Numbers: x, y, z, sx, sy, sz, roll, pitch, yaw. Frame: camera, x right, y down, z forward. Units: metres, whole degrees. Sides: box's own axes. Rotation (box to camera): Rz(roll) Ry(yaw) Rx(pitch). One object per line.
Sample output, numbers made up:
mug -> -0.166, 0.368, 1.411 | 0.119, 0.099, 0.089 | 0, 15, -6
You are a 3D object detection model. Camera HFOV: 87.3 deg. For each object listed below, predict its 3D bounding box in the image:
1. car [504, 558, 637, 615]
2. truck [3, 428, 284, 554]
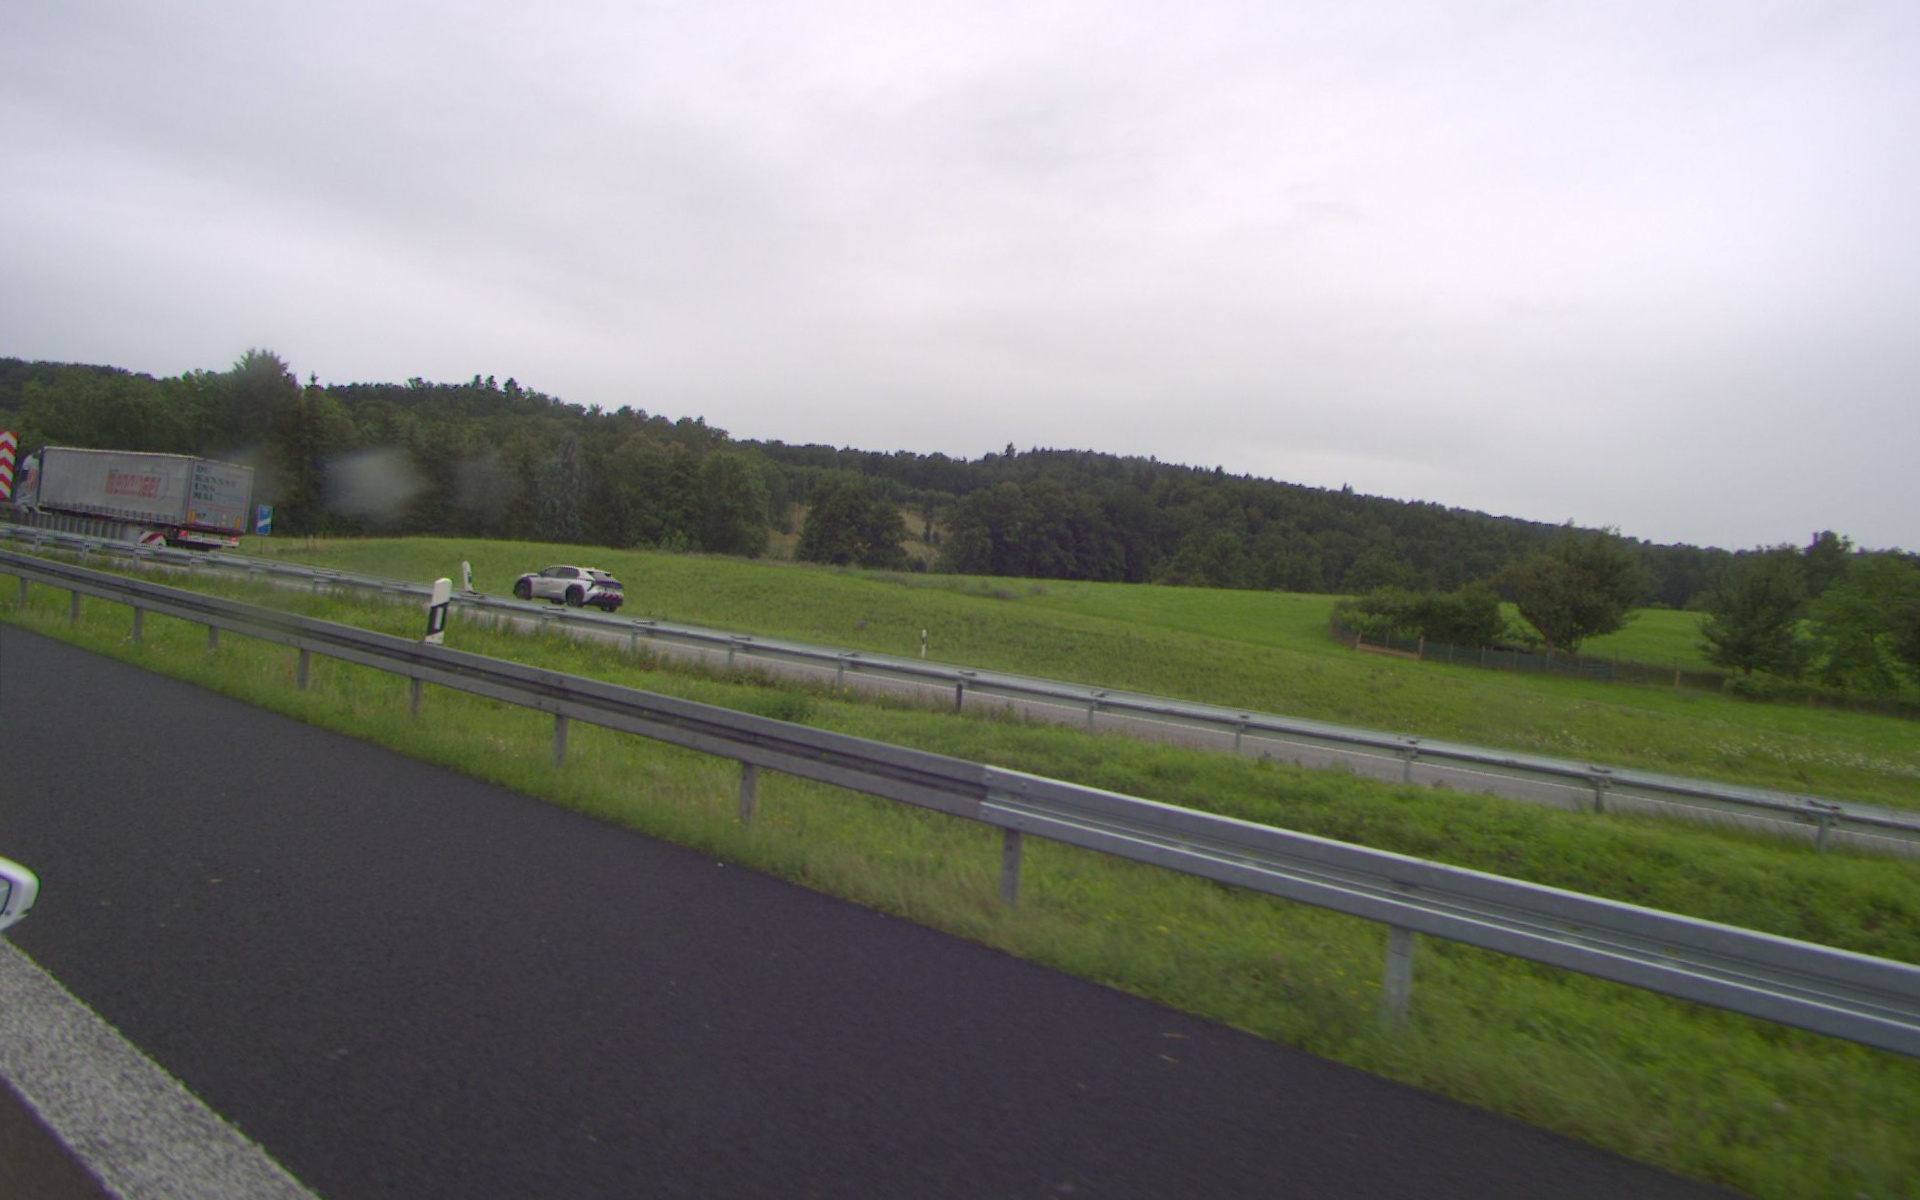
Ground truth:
car -> -14.918, -0.527, 38.466 | 4.944, 1.522, 1.823 | 7, -1, 28
truck -> -39.152, -5.320, 47.855 | 16.590, 4.595, 3.830 | 6, -1, 28
